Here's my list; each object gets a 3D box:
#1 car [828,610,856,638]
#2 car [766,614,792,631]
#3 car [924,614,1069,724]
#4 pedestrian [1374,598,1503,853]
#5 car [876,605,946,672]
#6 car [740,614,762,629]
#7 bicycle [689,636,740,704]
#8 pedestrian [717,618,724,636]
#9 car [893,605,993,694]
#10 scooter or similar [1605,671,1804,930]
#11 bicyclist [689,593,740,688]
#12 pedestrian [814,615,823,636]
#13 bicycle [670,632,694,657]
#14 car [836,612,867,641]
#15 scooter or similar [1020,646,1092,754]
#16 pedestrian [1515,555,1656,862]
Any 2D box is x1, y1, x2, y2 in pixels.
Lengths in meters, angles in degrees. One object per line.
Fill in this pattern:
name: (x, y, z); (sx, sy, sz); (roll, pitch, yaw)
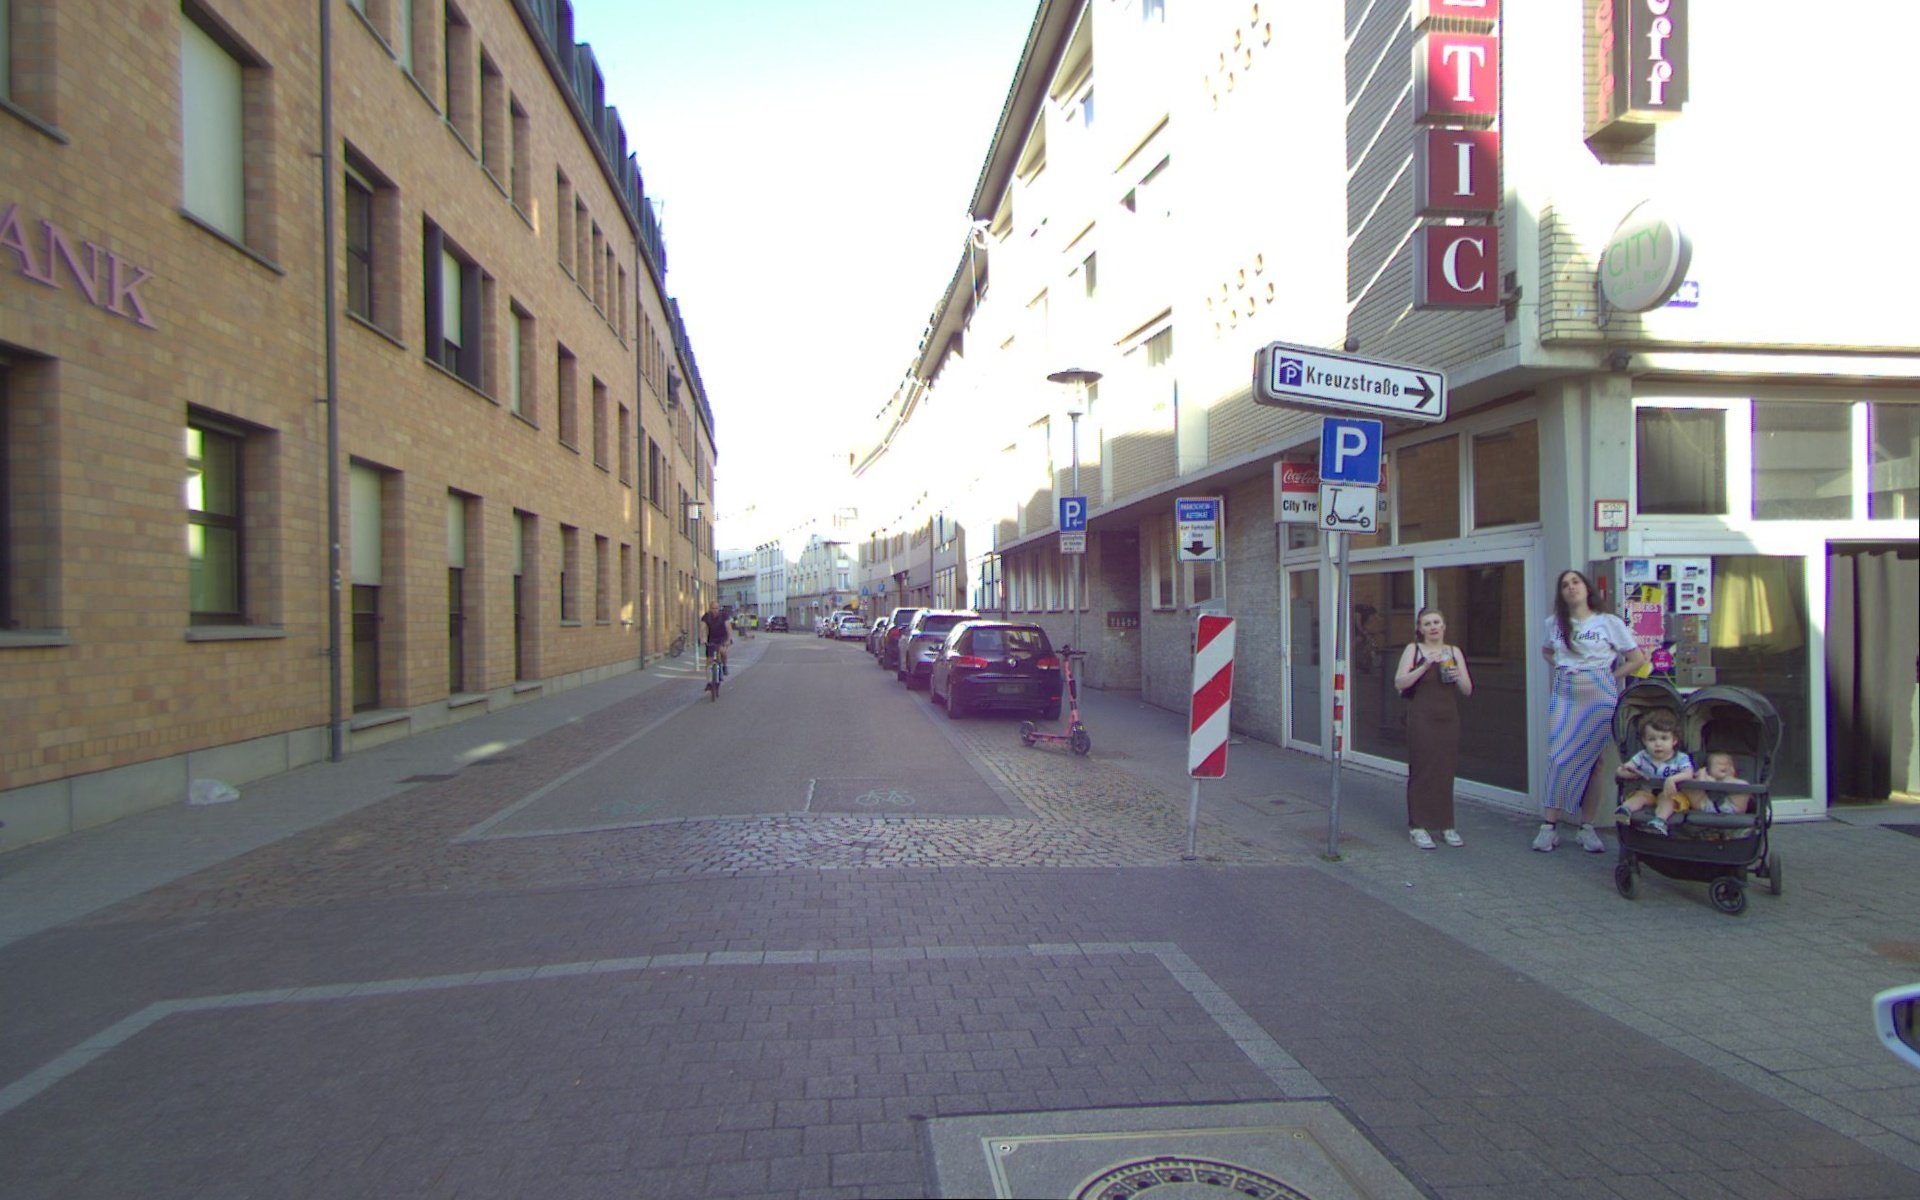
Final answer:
car: (-7.955, 1.602, 67.549); (1.663, 1.799, 3.650); (2, -1, -10)
car: (-18.496, 2.316, 102.494); (1.907, 1.673, 3.818); (0, -1, -21)
car: (0.457, 1.020, 16.252); (1.709, 1.506, 3.806); (2, 0, -8)
pedestrian: (3.160, 0.803, 6.667); (0.523, 1.600, 0.511); (-3, -1, -1)
car: (-1.471, 1.069, 28.732); (1.643, 1.727, 4.008); (2, -1, -8)
car: (-24.545, 2.494, 117.931); (1.907, 1.673, 3.818); (1, -1, -21)
bicycle: (-4.551, 1.267, 18.736); (0.692, 1.118, 1.825); (-4, 0, -9)
pedestrian: (-20.889, 2.335, 87.754); (0.533, 1.565, 0.404); (1, -1, -9)
car: (-0.458, 0.999, 21.469); (1.643, 1.683, 4.076); (2, -1, -8)
scooter or similar: (3.990, 1.004, 5.436); (0.786, 1.159, 0.950); (-1, 0, 35)
bicyclist: (-4.556, 0.740, 18.702); (0.759, 1.677, 0.955); (-3, 0, -10)
pedestrian: (-10.012, 1.788, 71.143); (0.562, 1.499, 0.472); (0, 0, -15)
bicycle: (-10.430, 1.661, 37.766); (0.631, 0.893, 2.552); (1, -1, -10)
car: (-6.686, 1.603, 61.675); (1.663, 1.701, 3.502); (2, -1, -10)
scooter or similar: (1.115, 1.149, 11.754); (0.870, 1.199, 0.207); (-1, -1, 43)
pedestrian: (4.012, 0.663, 6.446); (0.649, 1.843, 0.569); (-3, -1, 34)
